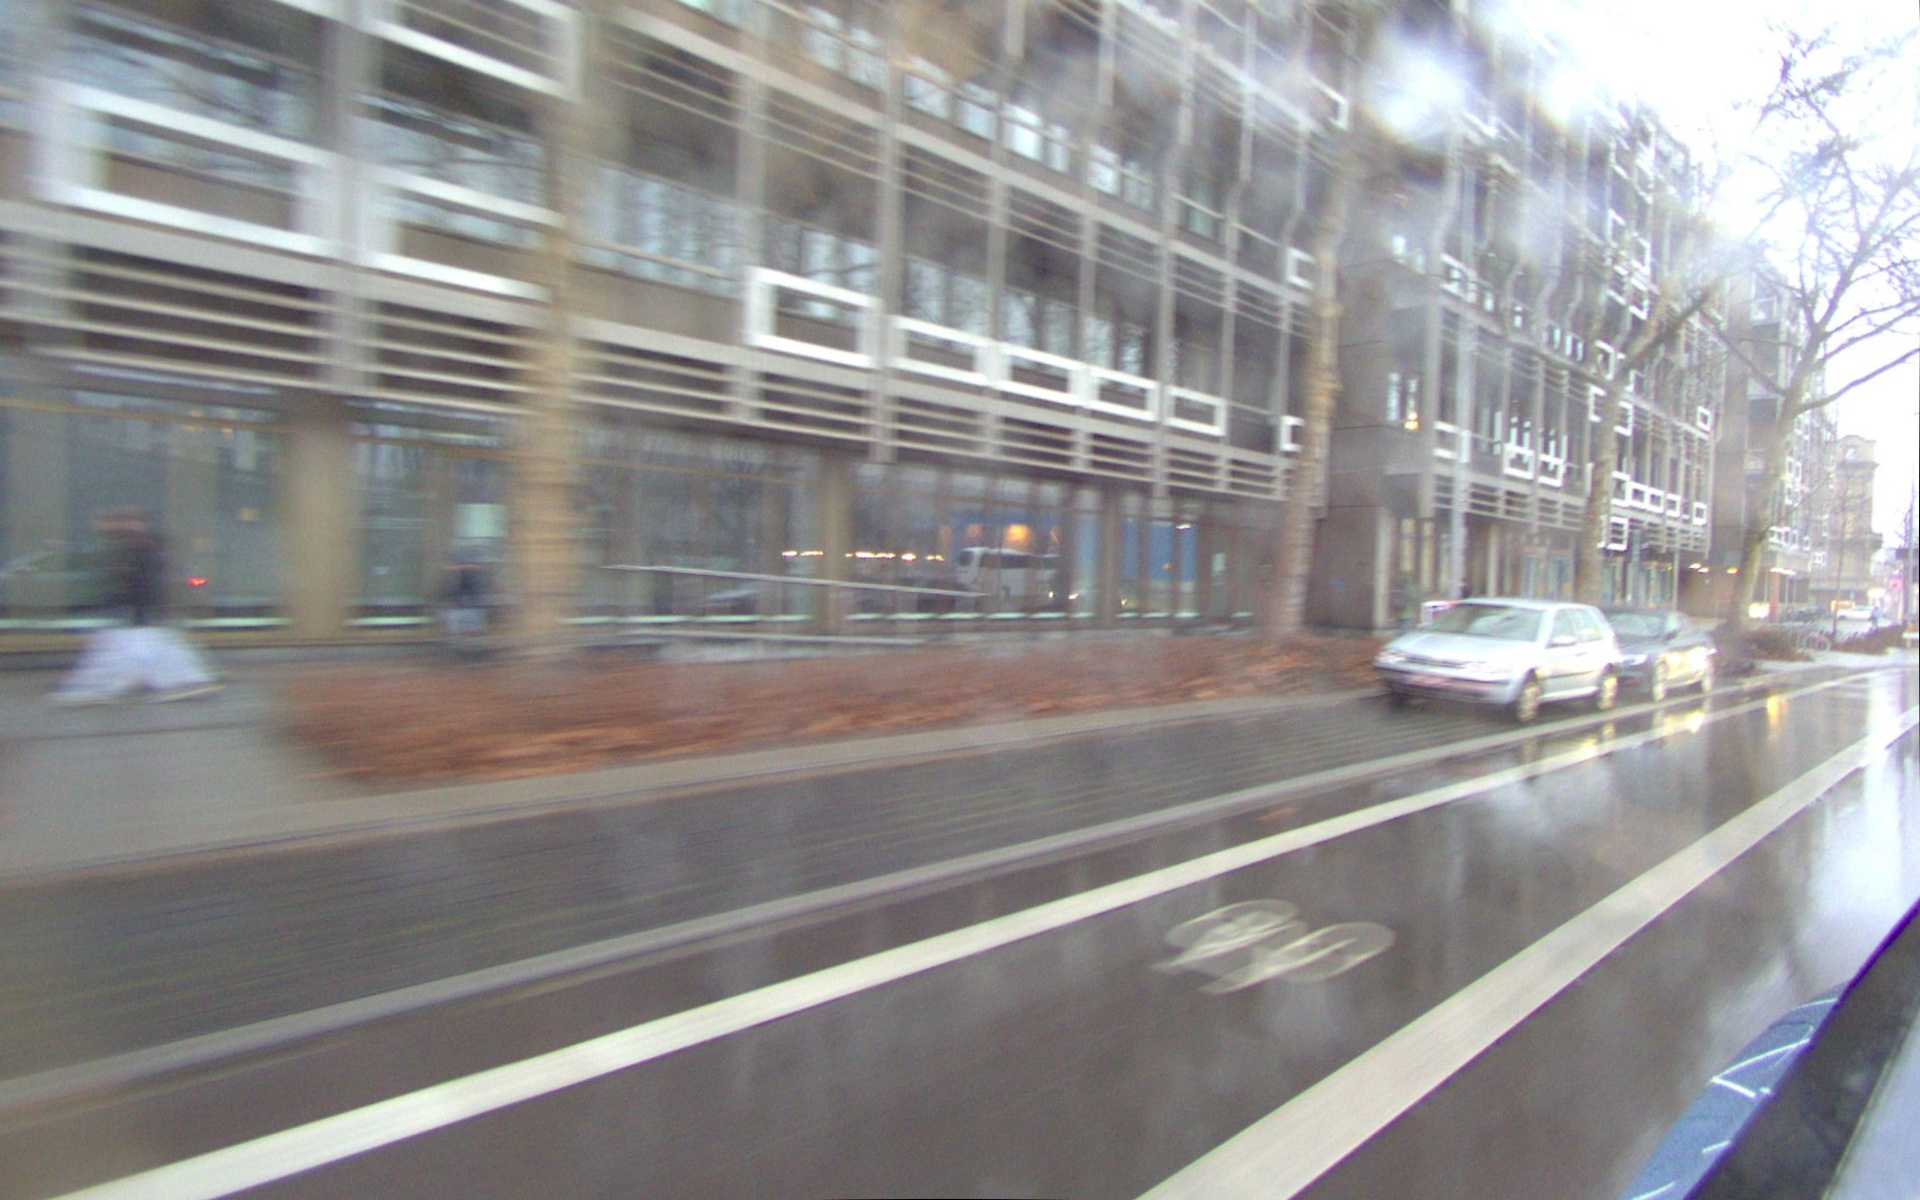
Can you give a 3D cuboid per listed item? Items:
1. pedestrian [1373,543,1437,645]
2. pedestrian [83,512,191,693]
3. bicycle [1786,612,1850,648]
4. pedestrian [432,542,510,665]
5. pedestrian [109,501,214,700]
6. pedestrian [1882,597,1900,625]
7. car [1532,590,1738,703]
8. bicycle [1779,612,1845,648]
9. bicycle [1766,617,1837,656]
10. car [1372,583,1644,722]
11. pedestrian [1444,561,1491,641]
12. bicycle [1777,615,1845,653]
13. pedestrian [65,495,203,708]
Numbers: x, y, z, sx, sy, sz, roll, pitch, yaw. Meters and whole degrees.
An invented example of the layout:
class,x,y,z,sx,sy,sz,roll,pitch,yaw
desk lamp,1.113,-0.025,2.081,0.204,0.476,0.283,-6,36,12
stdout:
class,x,y,z,sx,sy,sz,roll,pitch,yaw
pedestrian,9.160,-0.129,20.811,1.006,2.039,0.791,1,1,-40
pedestrian,-7.515,0.016,9.248,0.732,1.583,0.484,1,1,-41
bicycle,26.924,0.933,31.766,1.518,1.049,0.462,1,0,44
pedestrian,-5.836,0.031,12.073,0.703,1.407,0.563,1,1,-41
pedestrian,-7.064,-0.001,8.964,0.701,1.689,0.379,1,1,-40
pedestrian,66.986,0.775,72.820,0.758,2.039,0.837,0,0,-40
car,11.096,0.683,16.553,3.948,1.567,1.763,1,2,-40
bicycle,25.910,0.893,30.781,1.518,1.049,0.462,1,0,44
bicycle,23.908,1.016,28.773,1.518,1.049,0.462,1,0,44
car,7.156,0.581,13.086,3.858,1.449,1.609,0,4,-38
pedestrian,13.203,0.024,26.333,0.723,2.039,0.821,1,1,-42
bicycle,25.078,0.988,29.825,1.518,1.049,0.462,1,0,44
pedestrian,-6.907,0.004,8.485,0.857,1.689,0.501,1,1,-40
